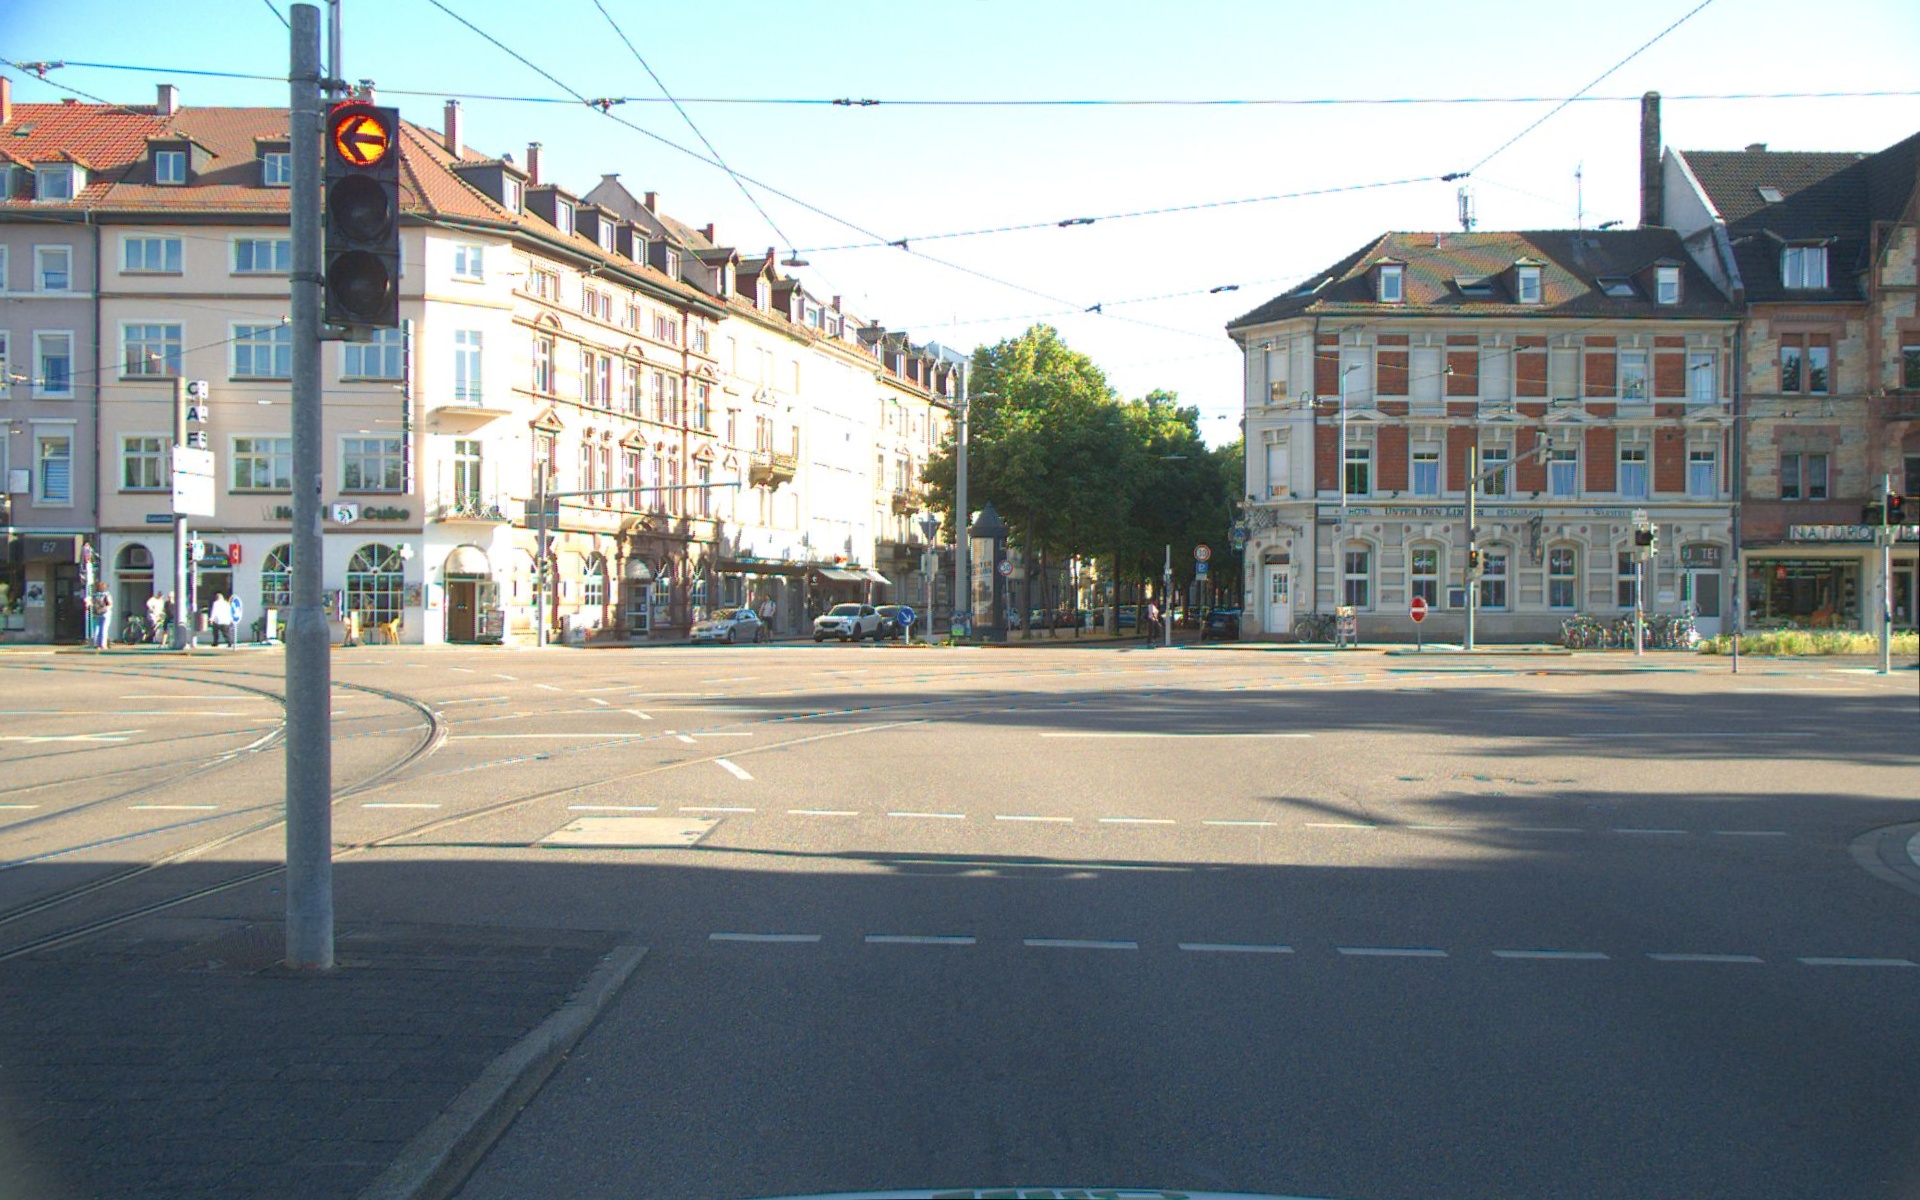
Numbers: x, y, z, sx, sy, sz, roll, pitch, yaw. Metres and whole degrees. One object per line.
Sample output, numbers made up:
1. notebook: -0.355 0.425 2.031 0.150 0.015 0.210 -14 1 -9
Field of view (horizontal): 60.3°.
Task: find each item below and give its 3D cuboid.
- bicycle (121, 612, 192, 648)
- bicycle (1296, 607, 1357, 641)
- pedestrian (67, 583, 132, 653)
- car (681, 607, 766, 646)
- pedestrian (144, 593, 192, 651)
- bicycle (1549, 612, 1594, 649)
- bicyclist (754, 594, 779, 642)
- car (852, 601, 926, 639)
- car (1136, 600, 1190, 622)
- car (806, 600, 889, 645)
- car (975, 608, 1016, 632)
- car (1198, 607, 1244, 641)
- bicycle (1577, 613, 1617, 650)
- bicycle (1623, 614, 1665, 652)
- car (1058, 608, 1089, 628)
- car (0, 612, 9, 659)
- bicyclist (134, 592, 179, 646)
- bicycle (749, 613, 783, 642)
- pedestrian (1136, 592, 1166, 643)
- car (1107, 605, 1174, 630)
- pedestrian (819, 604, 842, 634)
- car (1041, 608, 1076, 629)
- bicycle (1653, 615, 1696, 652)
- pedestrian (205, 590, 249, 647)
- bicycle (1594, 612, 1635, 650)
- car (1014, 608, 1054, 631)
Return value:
1. bicycle: -27.116 1.000 55.833 2.048 1.202 0.631 0 0 -1
2. bicycle: 12.753 0.819 57.570 2.045 1.144 0.366 1 -1 -5
3. pedestrian: -21.566 0.448 41.482 1.058 1.714 1.103 0 0 -1
4. car: -9.524 1.036 66.887 1.858 1.481 4.002 0 0 17
5. pedestrian: -24.891 0.684 51.995 0.985 1.806 0.942 0 0 14
6. bicycle: 19.824 0.989 53.645 0.789 1.163 2.175 0 0 4
7. bicyclist: -7.583 0.695 64.919 0.664 1.852 1.071 0 0 12
8. car: -3.145 0.863 73.775 1.951 1.640 4.393 0 0 17
9. car: 16.423 0.889 133.859 3.912 1.736 1.996 0 0 30
10. car: -4.540 0.885 67.241 1.951 1.713 4.393 0 0 17
11. car: 2.416 1.328 110.978 1.951 1.512 4.003 0 0 13
12. car: 13.073 1.161 82.621 1.951 1.613 4.003 0 0 13
13. bicycle: 20.595 0.999 53.526 0.605 1.163 2.175 0 0 4
14. bicycle: 22.075 1.056 53.437 0.605 1.163 2.175 0 0 4
15. car: 9.397 1.465 136.450 1.727 1.576 4.394 0 0 16
16. car: -32.396 1.143 51.934 3.907 1.478 1.999 0 0 -3
17. bicyclist: -27.225 0.630 56.060 1.142 1.806 0.748 0 0 -2
18. bicycle: -7.594 1.082 64.877 0.665 1.085 2.127 0 0 12
19. pedestrian: 6.625 0.606 57.473 1.024 1.774 0.809 0 0 5
20. car: 12.593 1.202 115.461 4.290 1.640 1.998 0 0 26
21. pedestrian: -6.875 1.008 88.002 0.908 1.562 1.138 0 0 13
22. car: 7.784 1.426 130.549 1.798 1.579 4.393 0 0 16
23. bicycle: 23.039 1.059 53.385 0.596 1.156 2.136 0 0 4
24. pedestrian: -23.527 0.577 53.101 0.924 1.806 1.004 0 0 40
25. bicycle: 21.167 0.994 53.496 0.605 1.163 2.175 0 0 4
26. car: 5.531 1.428 122.725 1.951 1.640 4.393 0 0 17
